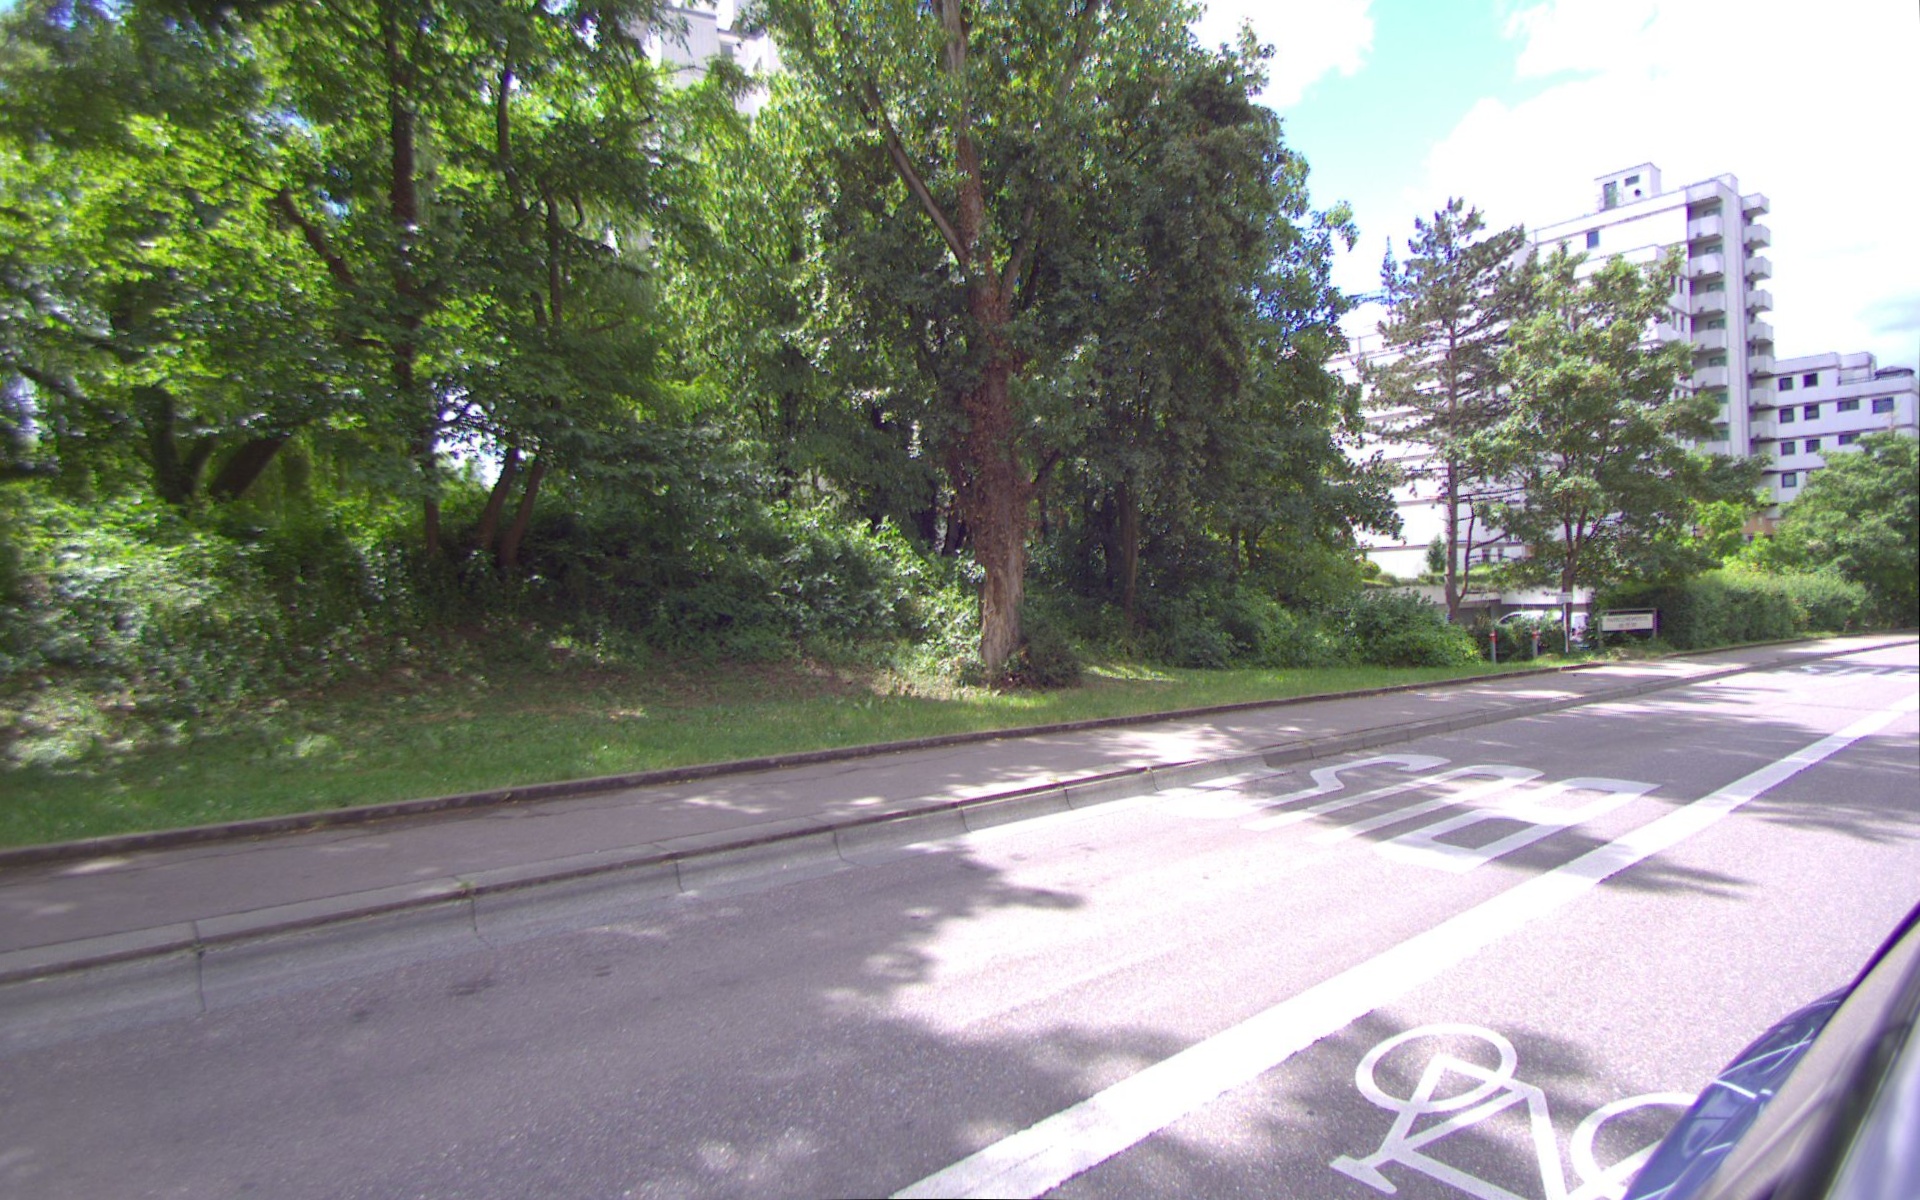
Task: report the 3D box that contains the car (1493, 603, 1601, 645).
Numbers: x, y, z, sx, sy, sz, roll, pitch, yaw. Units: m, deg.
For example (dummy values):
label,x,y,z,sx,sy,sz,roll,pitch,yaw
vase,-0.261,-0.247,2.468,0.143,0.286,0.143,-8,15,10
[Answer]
label,x,y,z,sx,sy,sz,roll,pitch,yaw
car,31.045,1.242,53.663,1.962,2.039,4.550,-1,1,-35
